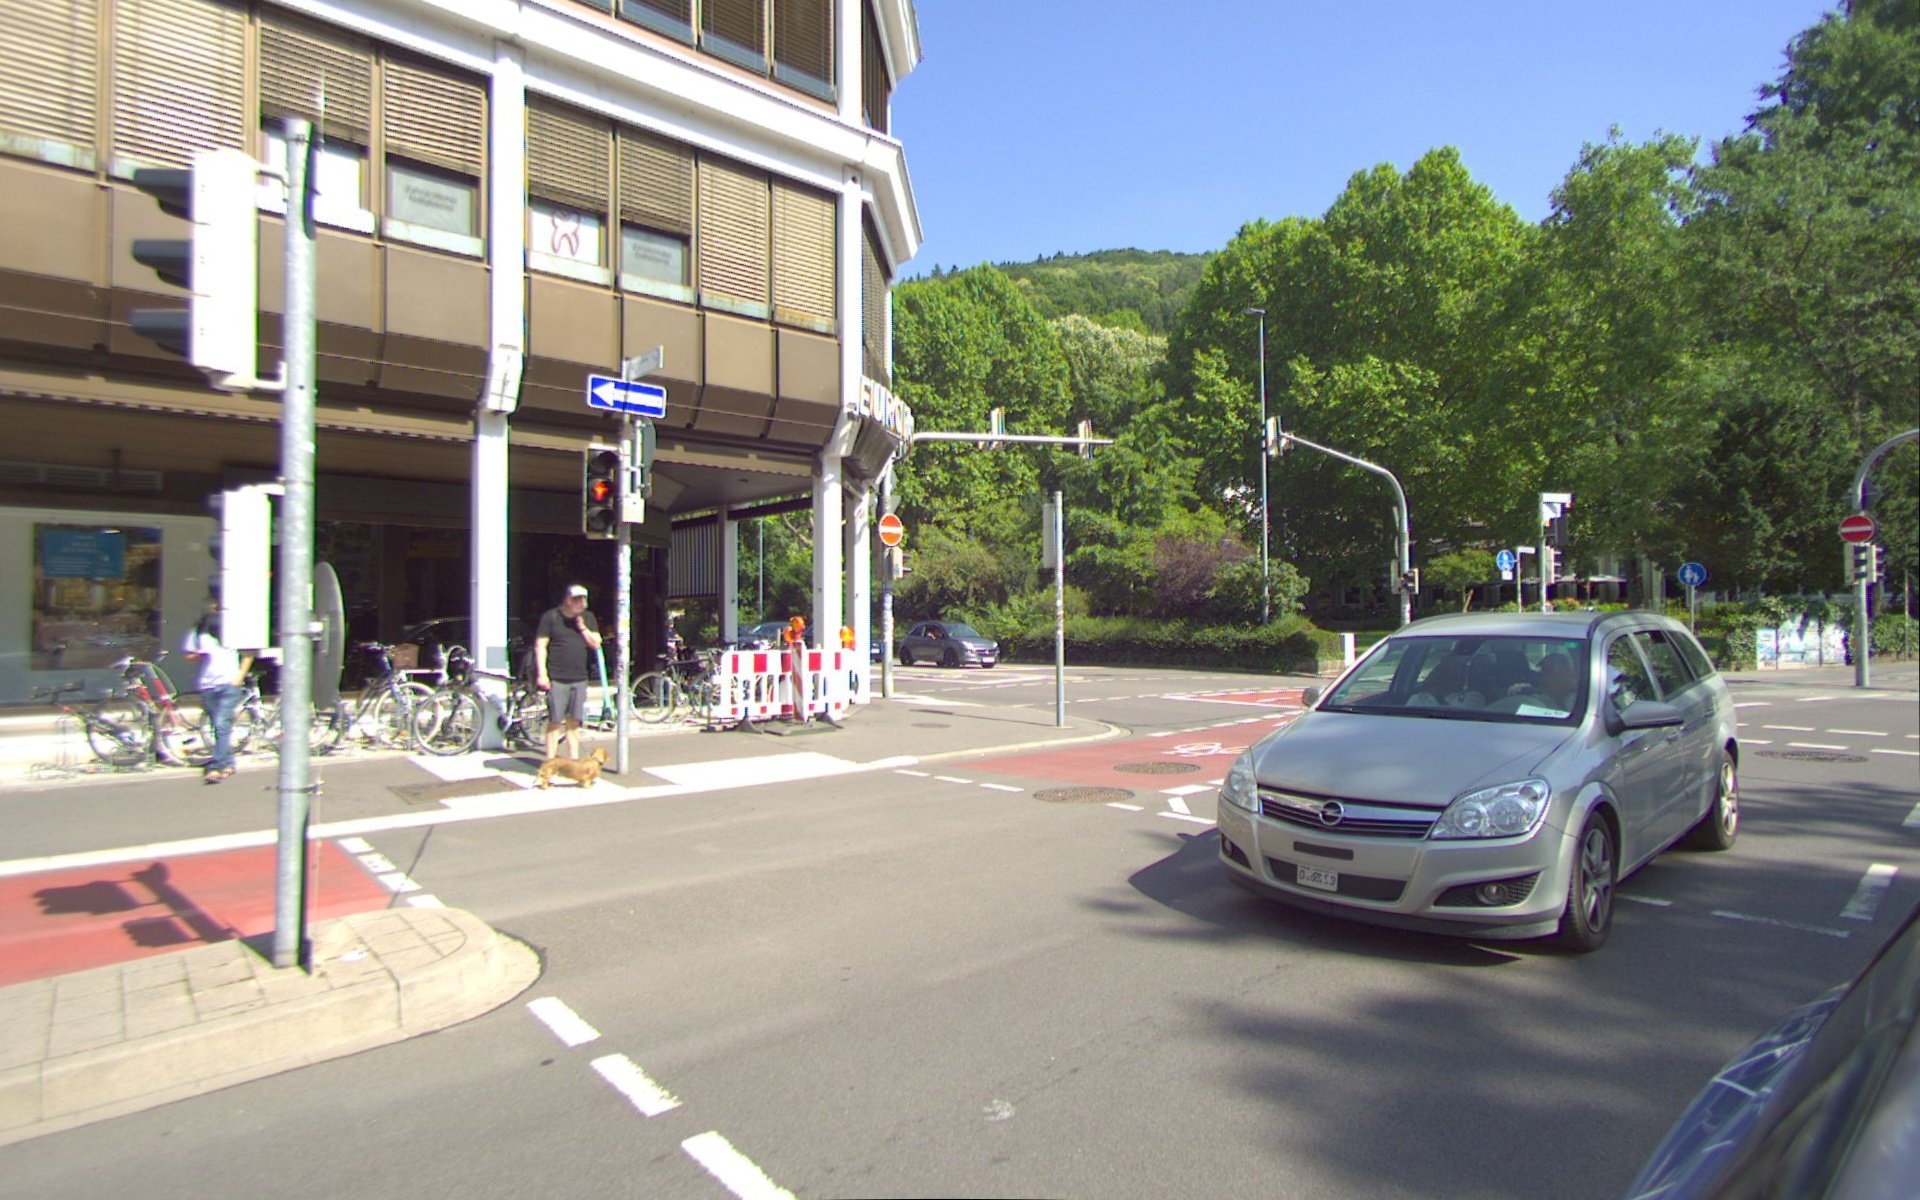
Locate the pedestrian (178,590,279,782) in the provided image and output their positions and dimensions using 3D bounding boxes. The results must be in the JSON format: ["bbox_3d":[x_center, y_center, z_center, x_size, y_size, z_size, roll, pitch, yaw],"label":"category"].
[{"bbox_3d":[-6.816,0.762,9.462,0.683,1.684,0.836,-1,0,-32],"label":"pedestrian"}]

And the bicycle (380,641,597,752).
[{"bbox_3d":[-5.259,1.044,11.403,2.199,1.135,0.277,1,-2,-33],"label":"bicycle"}]

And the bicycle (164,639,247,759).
[{"bbox_3d":[-7.953,0.987,10.631,2.234,1.135,0.273,-2,-2,43],"label":"bicycle"}]

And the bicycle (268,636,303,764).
[{"bbox_3d":[-7.008,0.992,10.522,0.272,1.222,1.550,1,-2,-33],"label":"bicycle"}]

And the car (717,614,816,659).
[{"bbox_3d":[-7.378,1.360,39.088,2.033,1.604,4.727,-2,-1,13],"label":"car"}]

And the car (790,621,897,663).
[{"bbox_3d":[-4.205,1.455,36.159,1.827,1.381,4.090,2,-2,-41],"label":"car"}]

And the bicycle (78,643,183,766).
[{"bbox_3d":[-8.388,1.006,10.203,2.229,1.111,0.274,-1,-2,37],"label":"bicycle"}]

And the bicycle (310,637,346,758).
[{"bbox_3d":[-6.732,0.990,10.756,0.272,1.134,1.576,1,0,-33],"label":"bicycle"}]

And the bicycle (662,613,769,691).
[{"bbox_3d":[-4.690,0.982,19.431,1.936,1.440,0.529,1,-1,11],"label":"bicycle"}]

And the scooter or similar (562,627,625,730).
[{"bbox_3d":[-4.742,0.981,13.053,0.471,1.248,1.250,0,-2,-34],"label":"scooter or similar"}]

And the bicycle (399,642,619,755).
[{"bbox_3d":[-4.954,1.054,11.237,2.199,1.135,0.277,1,-2,-33],"label":"bicycle"}]

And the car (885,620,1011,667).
[{"bbox_3d":[-0.433,1.329,31.975,1.826,1.381,4.090,2,-2,-40],"label":"car"}]

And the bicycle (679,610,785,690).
[{"bbox_3d":[-4.502,0.969,19.999,1.936,1.440,0.529,3,-1,11],"label":"bicycle"}]

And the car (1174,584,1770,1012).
[{"bbox_3d":[3.191,0.750,5.807,4.333,1.542,1.708,1,-2,-44],"label":"car"}]

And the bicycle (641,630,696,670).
[{"bbox_3d":[-8.954,1.504,31.065,0.751,1.134,2.117,-1,0,-42],"label":"bicycle"}]

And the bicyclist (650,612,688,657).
[{"bbox_3d":[-8.922,1.044,31.033,0.769,1.325,0.941,-1,0,-42],"label":"bicyclist"}]

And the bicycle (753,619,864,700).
[{"bbox_3d":[-2.614,1.013,17.488,1.830,1.334,0.529,1,-1,11],"label":"bicycle"}]

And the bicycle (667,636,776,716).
[{"bbox_3d":[-3.305,1.051,14.097,1.442,1.079,0.309,1,0,-5],"label":"bicycle"}]

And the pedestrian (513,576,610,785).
[{"bbox_3d":[-3.780,0.718,9.584,0.683,1.859,0.836,-1,0,-32],"label":"pedestrian"}]

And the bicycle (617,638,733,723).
[{"bbox_3d":[-3.795,1.064,13.506,1.446,1.079,0.376,1,0,6],"label":"bicycle"}]

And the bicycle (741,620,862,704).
[{"bbox_3d":[-2.650,1.017,16.960,1.936,1.334,0.529,1,-1,11],"label":"bicycle"}]

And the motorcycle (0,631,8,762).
[{"bbox_3d":[-9.837,0.973,9.036,0.929,1.307,2.247,-1,0,-13],"label":"motorcycle"}]

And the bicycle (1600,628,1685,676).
[{"bbox_3d":[16.889,1.261,25.095,1.662,1.135,0.776,-1,-1,29],"label":"bicycle"}]

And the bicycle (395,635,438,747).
[{"bbox_3d":[-6.223,0.995,11.561,0.272,1.134,1.723,1,0,-33],"label":"bicycle"}]

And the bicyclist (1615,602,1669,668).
[{"bbox_3d":[16.939,0.854,25.166,0.933,1.595,0.861,-1,0,25],"label":"bicyclist"}]

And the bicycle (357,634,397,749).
[{"bbox_3d":[-6.542,0.981,11.337,0.272,1.134,1.723,1,0,-33],"label":"bicycle"}]
